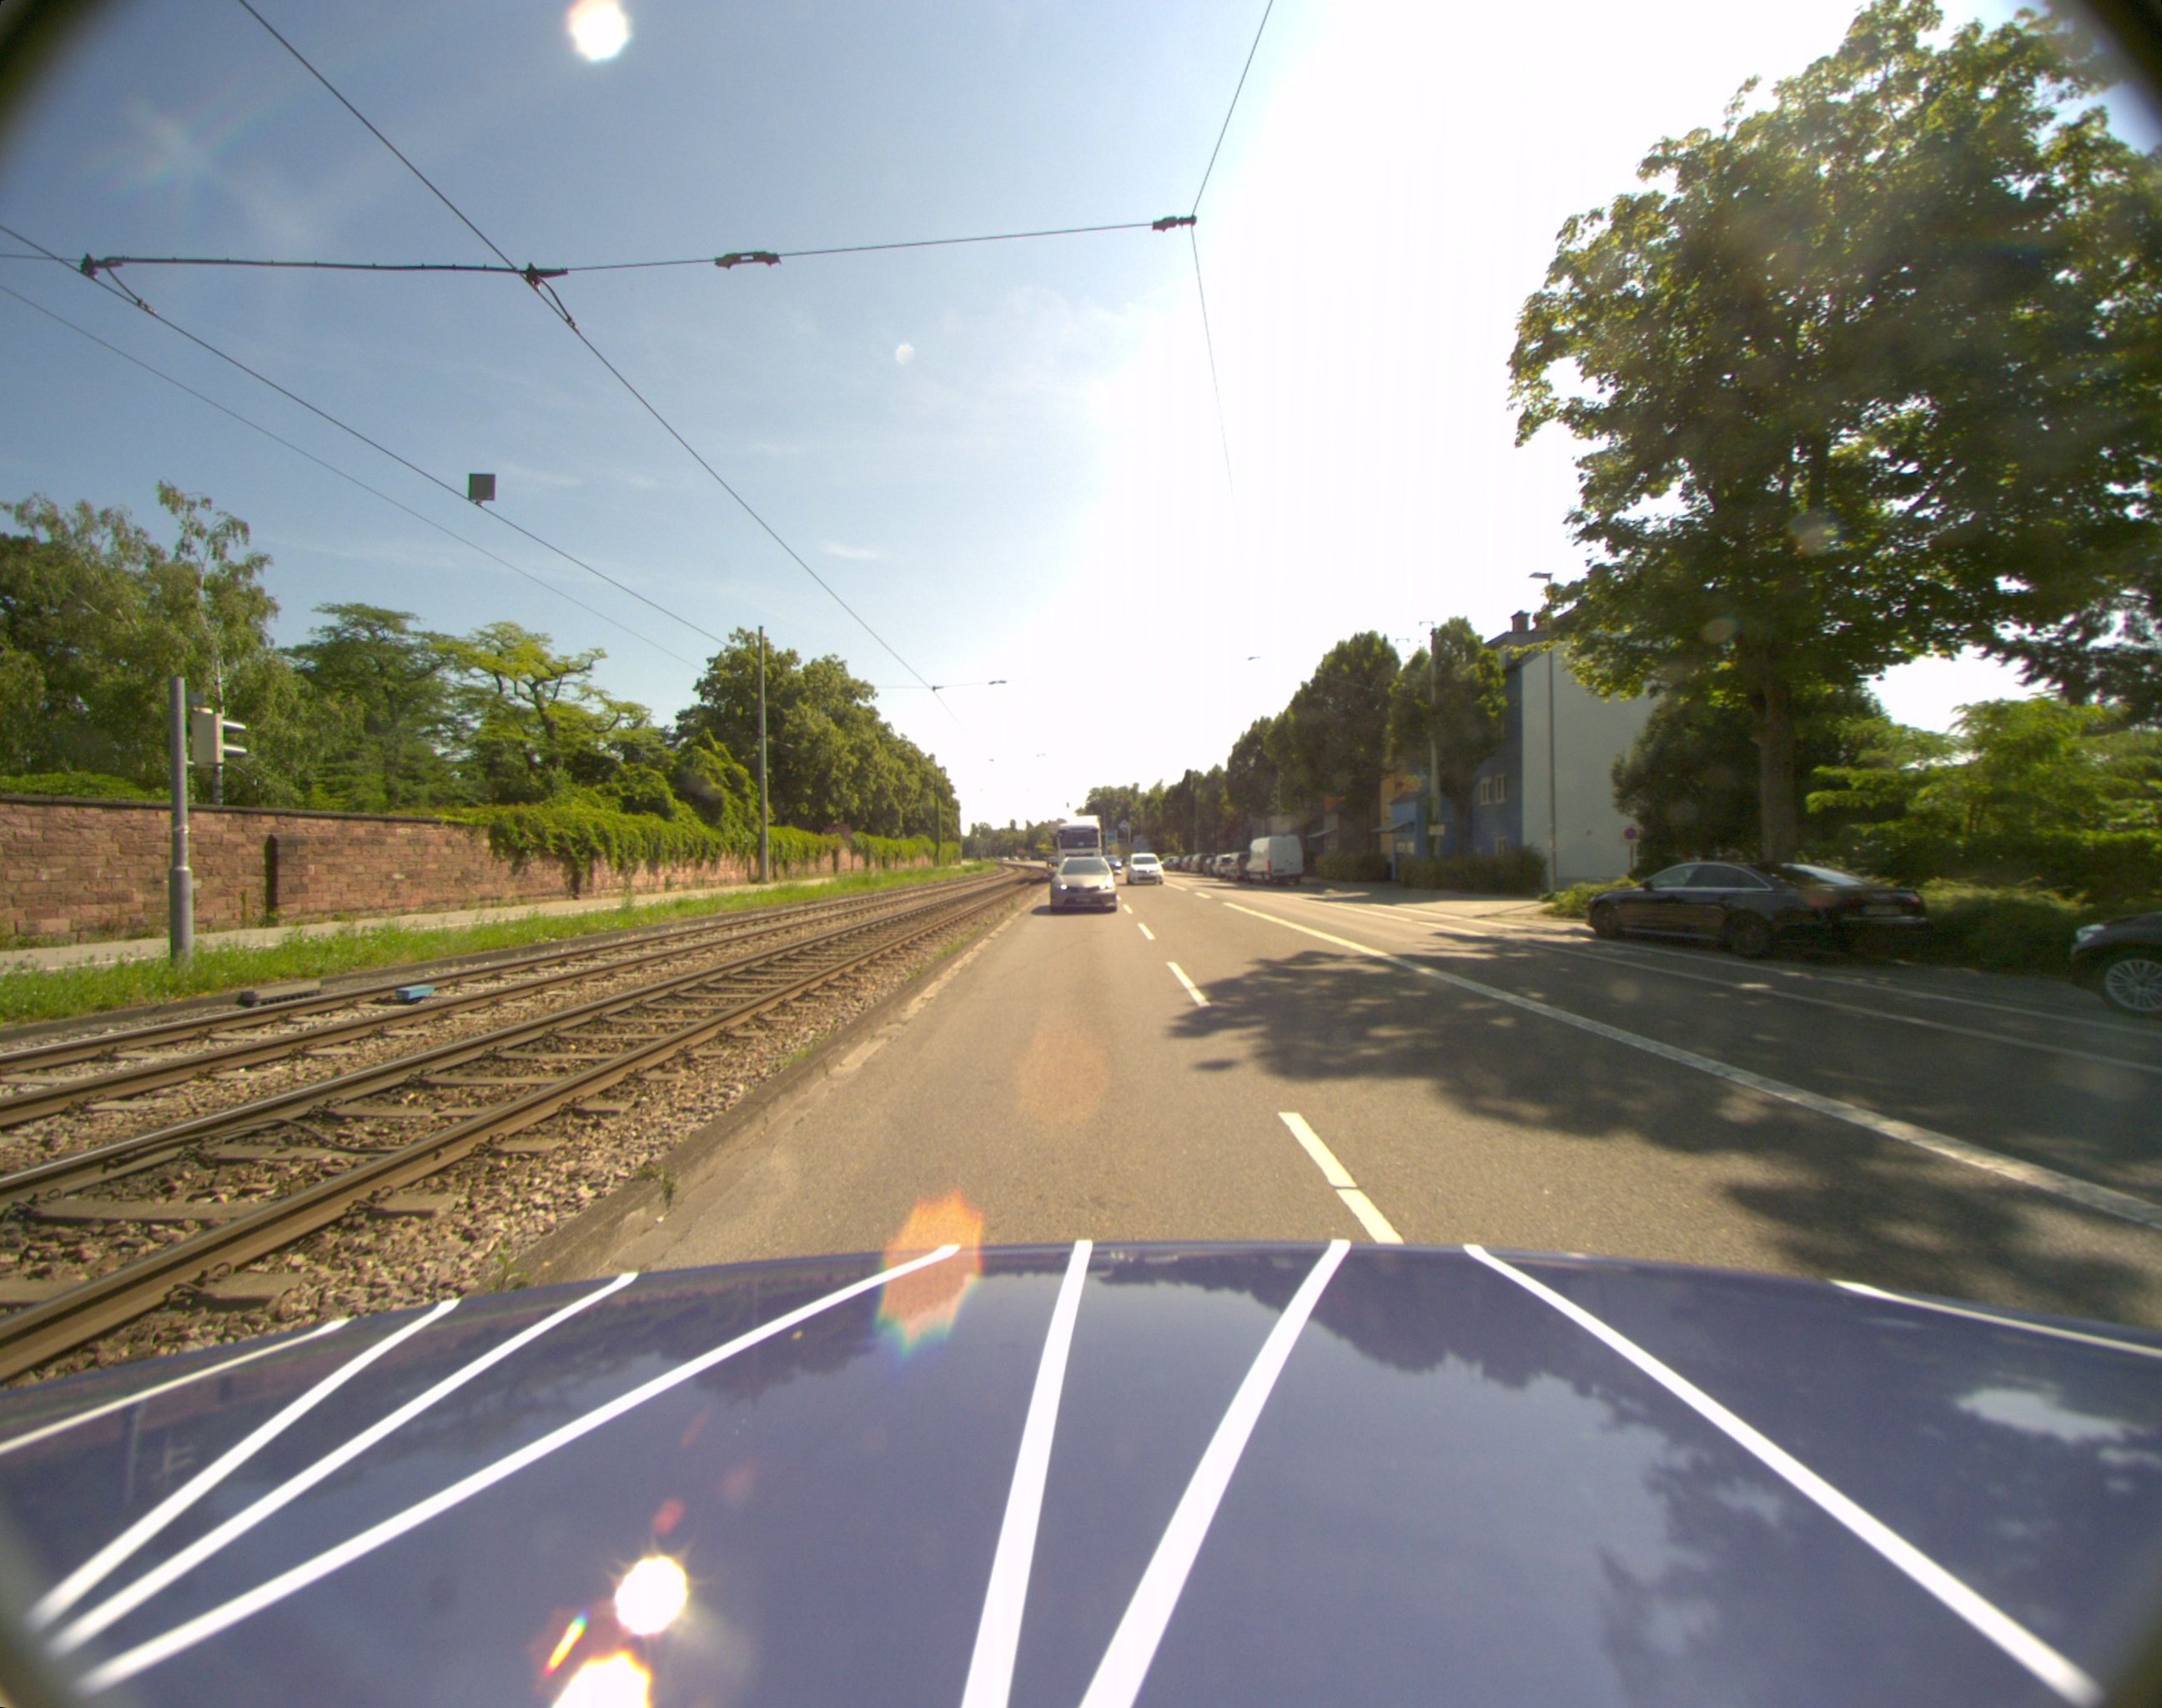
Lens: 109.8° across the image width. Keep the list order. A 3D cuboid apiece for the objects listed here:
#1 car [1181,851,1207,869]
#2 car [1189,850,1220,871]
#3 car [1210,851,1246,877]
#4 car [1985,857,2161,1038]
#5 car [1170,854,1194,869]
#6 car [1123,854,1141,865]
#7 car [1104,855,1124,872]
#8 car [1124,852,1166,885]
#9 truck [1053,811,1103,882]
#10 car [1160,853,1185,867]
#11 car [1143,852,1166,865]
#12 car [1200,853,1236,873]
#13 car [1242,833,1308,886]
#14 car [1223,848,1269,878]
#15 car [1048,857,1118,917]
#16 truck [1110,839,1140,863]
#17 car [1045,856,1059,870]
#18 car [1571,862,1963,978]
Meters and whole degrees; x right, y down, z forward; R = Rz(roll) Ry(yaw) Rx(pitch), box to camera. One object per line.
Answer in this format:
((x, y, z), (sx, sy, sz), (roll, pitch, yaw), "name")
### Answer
((10.780, 0.519, 72.731), (1.681, 1.598, 4.164), (-2, 1, -3), "car")
((10.948, 0.542, 67.668), (1.834, 1.718, 4.348), (-3, 1, -3), "car")
((11.003, 0.728, 57.212), (1.853, 1.693, 4.540), (-4, 1, 1), "car")
((10.562, 0.845, 5.697), (1.766, 1.596, 4.893), (-1, 0, 0), "car")
((10.506, 0.734, 79.136), (1.681, 1.462, 4.212), (-2, 1, -4), "car")
((7.355, 0.768, 109.424), (1.915, 1.469, 4.213), (-2, 1, -6), "car")
((2.958, 0.842, 69.480), (1.659, 1.517, 3.792), (0, 0, 0), "car")
((3.282, 0.712, 39.582), (1.784, 1.538, 4.394), (-2, 0, 0), "car")
((-0.039, -0.440, 48.528), (2.805, 3.926, 11.944), (0, 0, 1), "truck")
((10.299, 0.644, 85.740), (1.682, 1.437, 4.835), (-2, 1, -6), "car")
((9.392, 0.565, 97.257), (1.911, 1.567, 4.929), (-2, 1, -6), "car")
((11.203, 0.704, 62.398), (1.871, 1.447, 4.074), (-4, 1, -3), "car")
((10.995, 0.270, 43.617), (1.998, 2.661, 7.086), (-4, 0, 1), "car")
((11.161, 0.579, 51.730), (1.998, 1.855, 4.966), (-5, 0, 1), "car")
((0.080, 0.848, 21.674), (1.747, 1.421, 5.041), (-1, 0, 1), "car")
((6.714, -0.504, 117.058), (3.165, 3.533, 8.779), (0, 0, -6), "truck")
((-3.960, 1.178, 104.488), (1.854, 1.707, 3.999), (-2, 1, -2), "car")
((10.618, 0.890, 12.444), (1.845, 1.457, 4.908), (0, 0, -3), "car")
